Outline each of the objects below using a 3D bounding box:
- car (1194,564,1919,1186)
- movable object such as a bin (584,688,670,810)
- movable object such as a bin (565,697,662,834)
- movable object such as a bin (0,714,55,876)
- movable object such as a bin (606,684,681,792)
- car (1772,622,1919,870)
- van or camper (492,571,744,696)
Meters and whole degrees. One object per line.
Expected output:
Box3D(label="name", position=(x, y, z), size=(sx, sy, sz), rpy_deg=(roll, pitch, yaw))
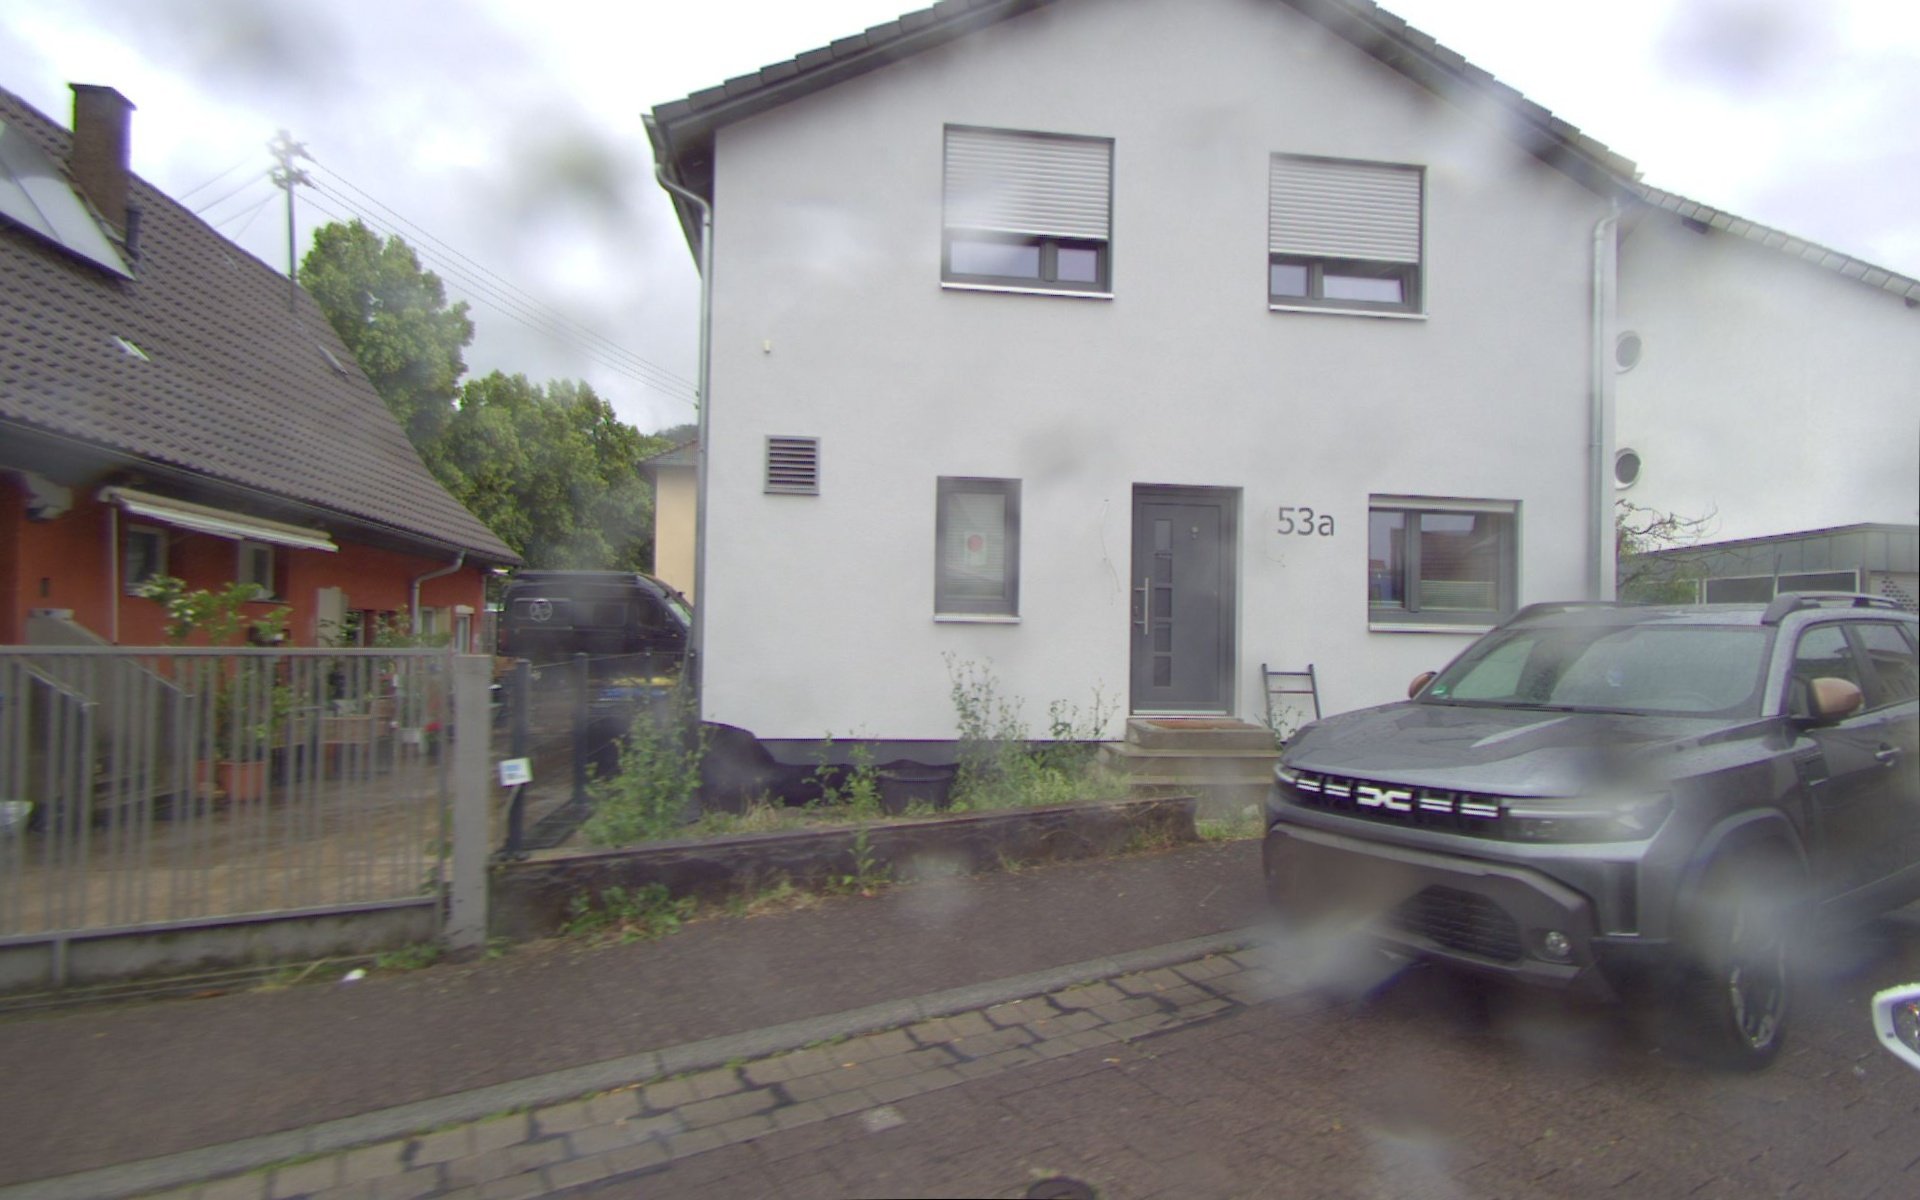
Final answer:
Box3D(label="car", position=(3.206, 0.825, 4.742), size=(3.972, 1.802, 1.803), rpy_deg=(0, -2, -31))
Box3D(label="movable object such as a bin", position=(-3.177, 1.407, 9.623), size=(0.663, 1.069, 0.613), rpy_deg=(1, 0, -7))
Box3D(label="movable object such as a bin", position=(-2.960, 1.398, 8.627), size=(0.663, 1.069, 0.613), rpy_deg=(1, 0, -7))
Box3D(label="movable object such as a bin", position=(-6.916, 1.361, 7.018), size=(0.610, 1.070, 0.646), rpy_deg=(1, -2, -12))
Box3D(label="movable object such as a bin", position=(-3.386, 1.460, 10.786), size=(0.663, 1.069, 0.613), rpy_deg=(1, 0, -7))
Box3D(label="car", position=(8.377, 1.032, 7.729), size=(4.364, 1.657, 1.742), rpy_deg=(2, -4, -29))
Box3D(label="van or camper", position=(-8.622, 0.878, 25.717), size=(5.604, 3.002, 2.207), rpy_deg=(1, -3, 2))
